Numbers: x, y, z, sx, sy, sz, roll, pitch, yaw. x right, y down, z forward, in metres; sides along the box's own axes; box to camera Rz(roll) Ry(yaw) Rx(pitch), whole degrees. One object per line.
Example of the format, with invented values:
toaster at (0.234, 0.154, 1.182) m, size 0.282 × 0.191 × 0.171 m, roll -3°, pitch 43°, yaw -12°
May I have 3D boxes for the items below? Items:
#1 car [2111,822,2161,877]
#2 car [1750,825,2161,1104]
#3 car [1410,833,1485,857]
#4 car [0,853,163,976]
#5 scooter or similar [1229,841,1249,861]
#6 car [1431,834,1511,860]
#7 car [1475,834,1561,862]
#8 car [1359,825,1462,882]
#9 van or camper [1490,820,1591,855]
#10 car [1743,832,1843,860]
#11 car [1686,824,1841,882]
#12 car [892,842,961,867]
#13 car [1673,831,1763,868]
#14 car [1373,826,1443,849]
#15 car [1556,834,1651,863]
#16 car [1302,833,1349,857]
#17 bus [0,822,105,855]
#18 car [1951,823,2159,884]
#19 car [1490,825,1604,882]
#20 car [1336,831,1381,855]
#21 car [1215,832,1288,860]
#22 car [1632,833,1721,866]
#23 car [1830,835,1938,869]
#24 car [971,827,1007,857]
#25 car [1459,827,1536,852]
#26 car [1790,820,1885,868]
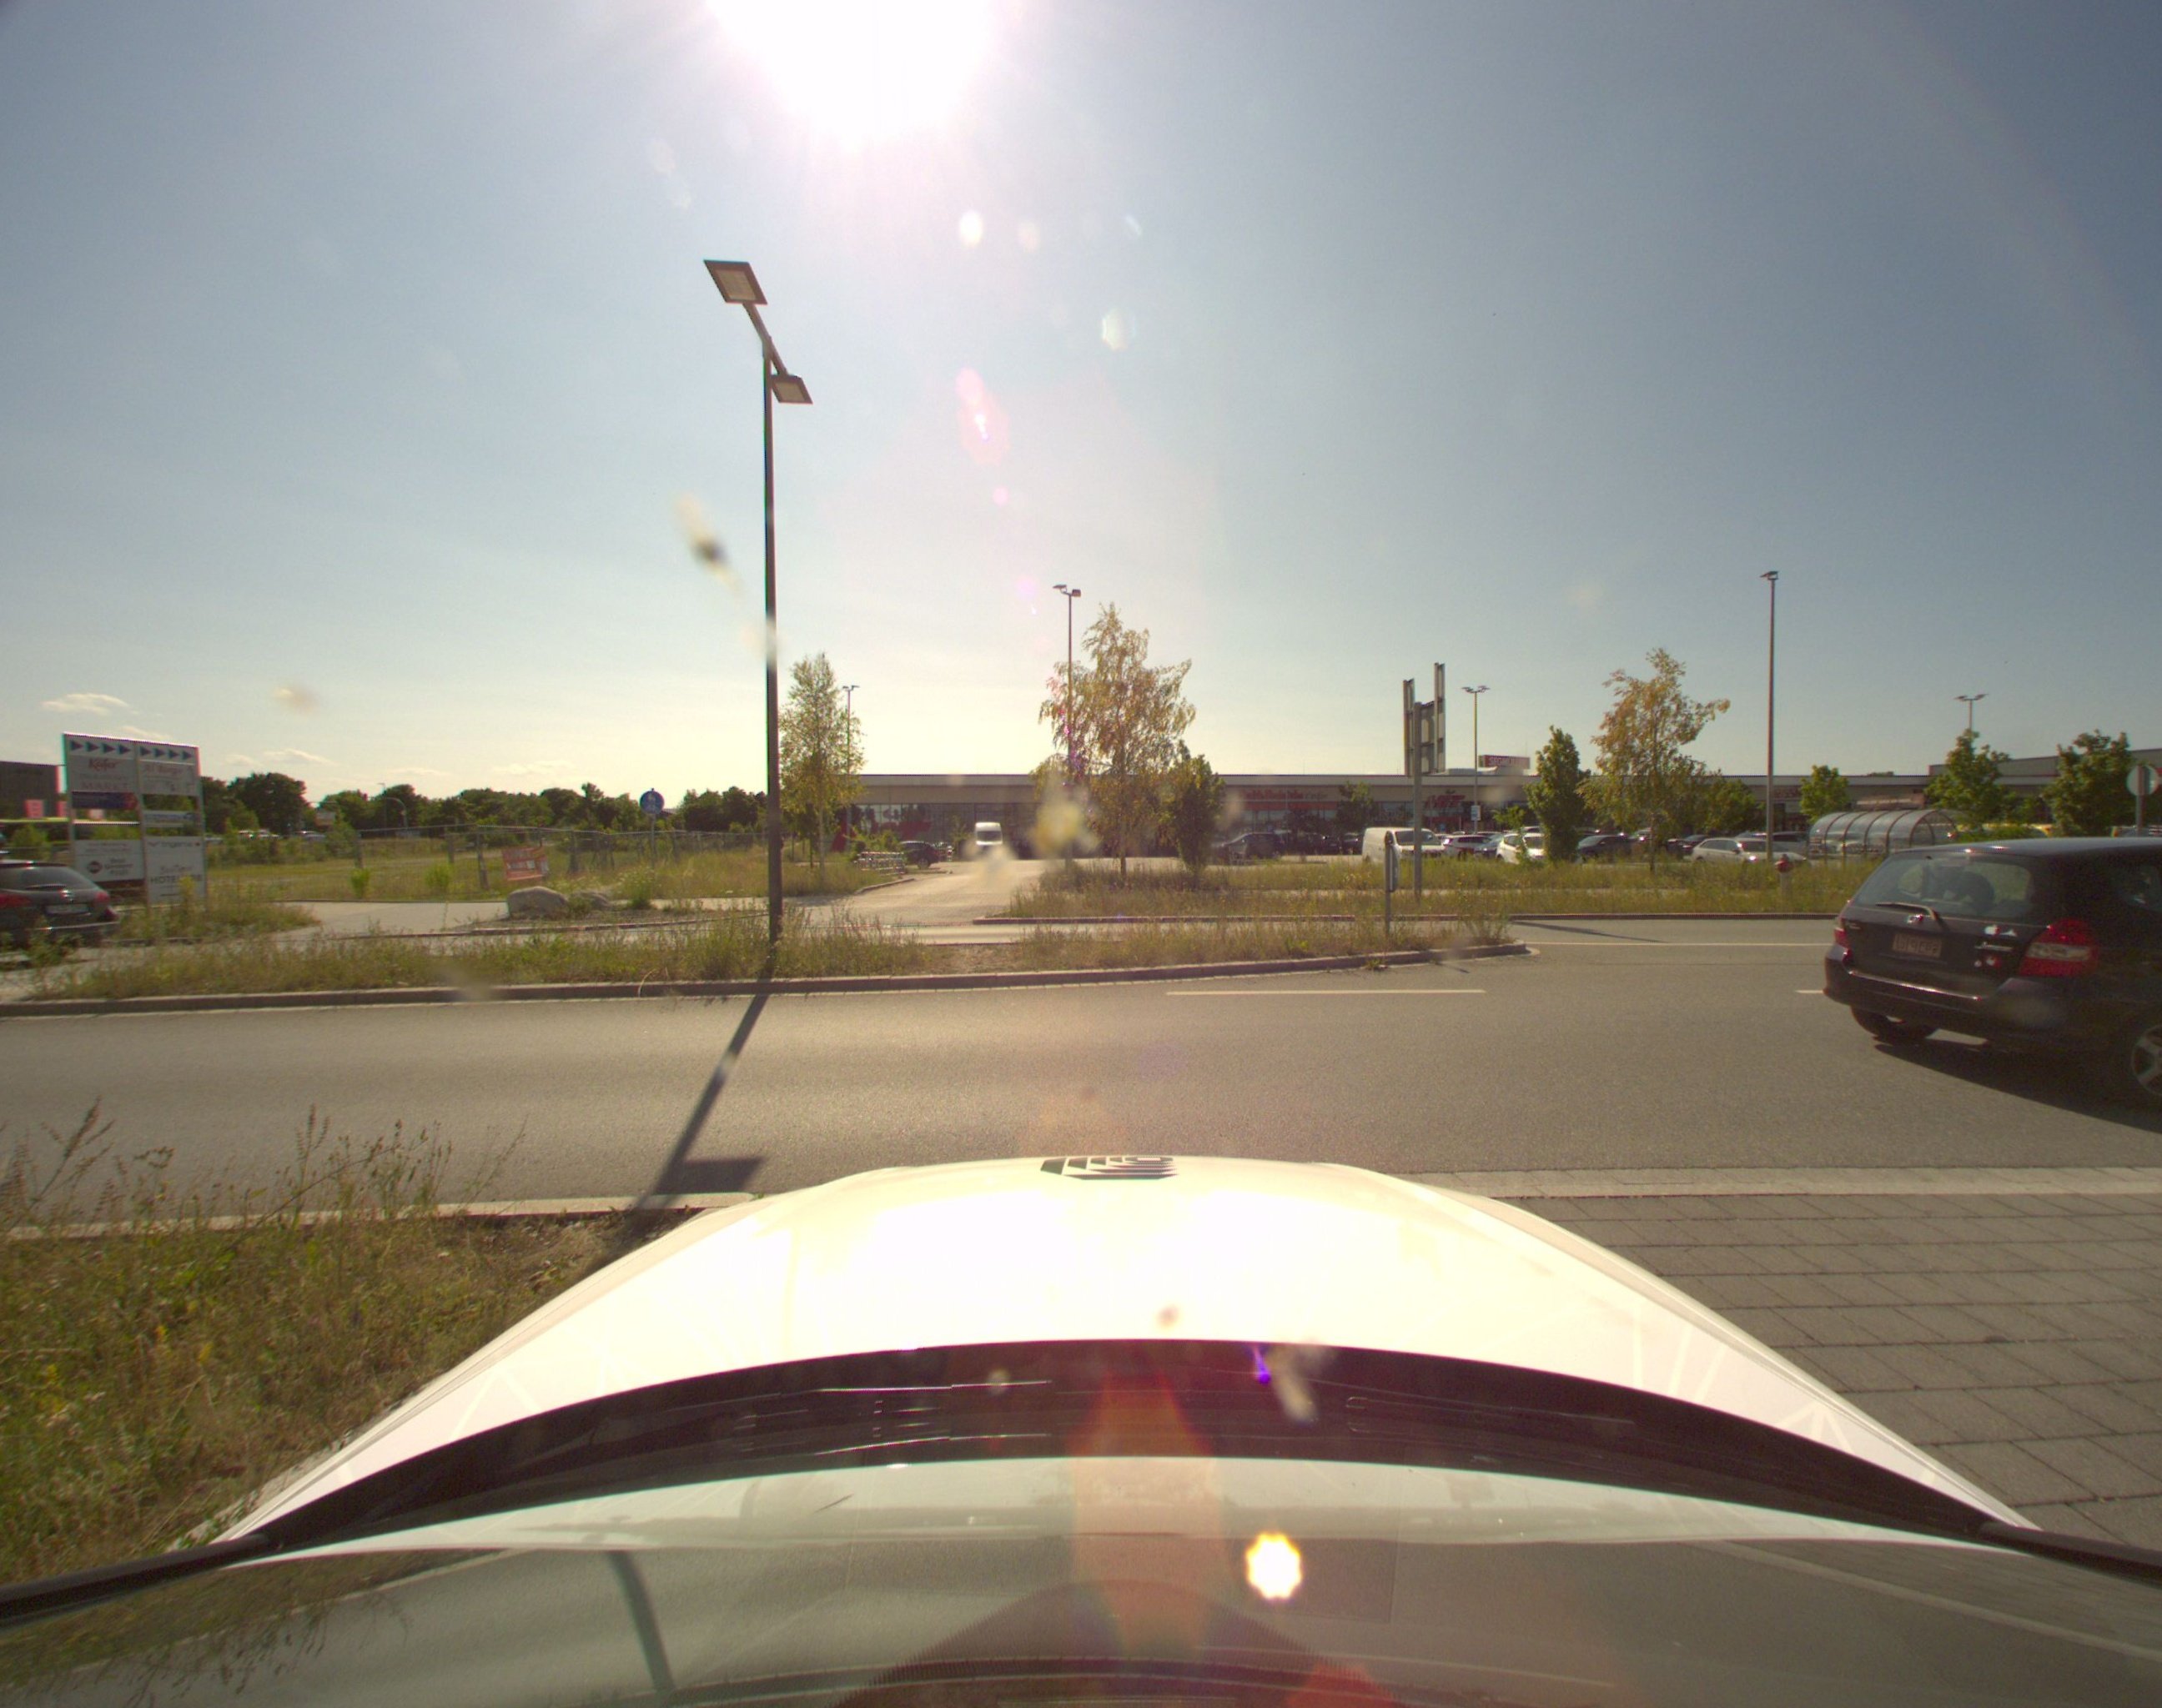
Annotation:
car at (40.251, -0.136, 29.054) m, size 1.925 × 2.013 × 4.425 m, roll 0°, pitch 1°, yaw 11°
car at (7.244, 0.580, 5.503) m, size 3.817 × 1.550 × 2.001 m, roll 0°, pitch 1°, yaw 1°
car at (21.584, -0.543, 47.992) m, size 3.719 × 1.390 × 1.727 m, roll -1°, pitch 1°, yaw -9°
car at (-15.599, 0.761, 10.773) m, size 4.184 × 1.517 × 1.993 m, roll 0°, pitch 1°, yaw -11°
scooter or similar at (8.685, -0.195, 44.797) m, size 0.940 × 1.079 × 0.652 m, roll -1°, pitch 1°, yaw -2°
car at (21.504, -0.408, 44.946) m, size 3.719 × 1.390 × 1.727 m, roll -1°, pitch 1°, yaw -9°
car at (22.742, -0.339, 42.429) m, size 3.719 × 1.390 × 1.727 m, roll -1°, pitch 1°, yaw -9°
car at (12.695, -0.082, 31.786) m, size 2.073 × 2.013 × 5.232 m, roll 0°, pitch 1°, yaw 2°
van or camper at (27.625, -1.017, 49.057) m, size 5.025 × 2.013 × 1.998 m, roll -1°, pitch 1°, yaw -4°
car at (39.559, -0.458, 45.289) m, size 4.327 × 1.520 × 1.653 m, roll 0°, pitch 1°, yaw -4°
car at (25.642, -0.080, 30.912) m, size 2.145 × 2.013 × 5.129 m, roll 0°, pitch 1°, yaw 8°
car at (-8.813, 0.009, 46.756) m, size 3.832 × 1.423 × 1.766 m, roll 0°, pitch 1°, yaw -10°
car at (39.317, -0.300, 50.288) m, size 4.473 × 2.191 × 1.992 m, roll 0°, pitch 1°, yaw -12°
car at (20.390, -1.017, 50.778) m, size 3.719 × 1.390 × 1.727 m, roll -1°, pitch 1°, yaw -9°
car at (27.952, -0.282, 43.655) m, size 3.980 × 1.508 × 1.872 m, roll 0°, pitch 1°, yaw -5°
car at (18.262, -0.730, 60.964) m, size 1.991 × 1.707 × 3.992 m, roll -1°, pitch 1°, yaw -7°
bus at (-91.105, -1.383, 70.558) m, size 2.579 × 2.735 × 11.500 m, roll 0°, pitch 2°, yaw -18°
car at (35.279, -0.075, 29.792) m, size 2.143 × 2.013 × 5.132 m, roll 0°, pitch 1°, yaw 11°
car at (17.892, -0.081, 31.586) m, size 2.145 × 2.013 × 5.129 m, roll 0°, pitch 1°, yaw 8°
car at (20.906, -0.849, 61.497) m, size 1.988 × 1.707 × 3.997 m, roll -1°, pitch 1°, yaw -2°
car at (9.735, -0.475, 46.572) m, size 3.788 × 1.508 × 1.729 m, roll -1°, pitch 1°, yaw -6°
car at (39.003, -0.294, 53.376) m, size 4.458 × 2.102 × 1.999 m, roll 0°, pitch 1°, yaw -2°
car at (45.502, -0.139, 46.177) m, size 4.464 × 1.863 × 1.996 m, roll 0°, pitch 1°, yaw -6°
car at (-6.678, -0.889, 58.652) m, size 2.222 × 1.977 × 6.675 m, roll -1°, pitch 1°, yaw -9°
car at (29.040, -1.036, 56.874) m, size 4.460 × 1.706 × 1.873 m, roll 0°, pitch 1°, yaw -3°
car at (45.470, -0.605, 49.001) m, size 4.473 × 2.821 × 1.992 m, roll 0°, pitch 0°, yaw -12°
